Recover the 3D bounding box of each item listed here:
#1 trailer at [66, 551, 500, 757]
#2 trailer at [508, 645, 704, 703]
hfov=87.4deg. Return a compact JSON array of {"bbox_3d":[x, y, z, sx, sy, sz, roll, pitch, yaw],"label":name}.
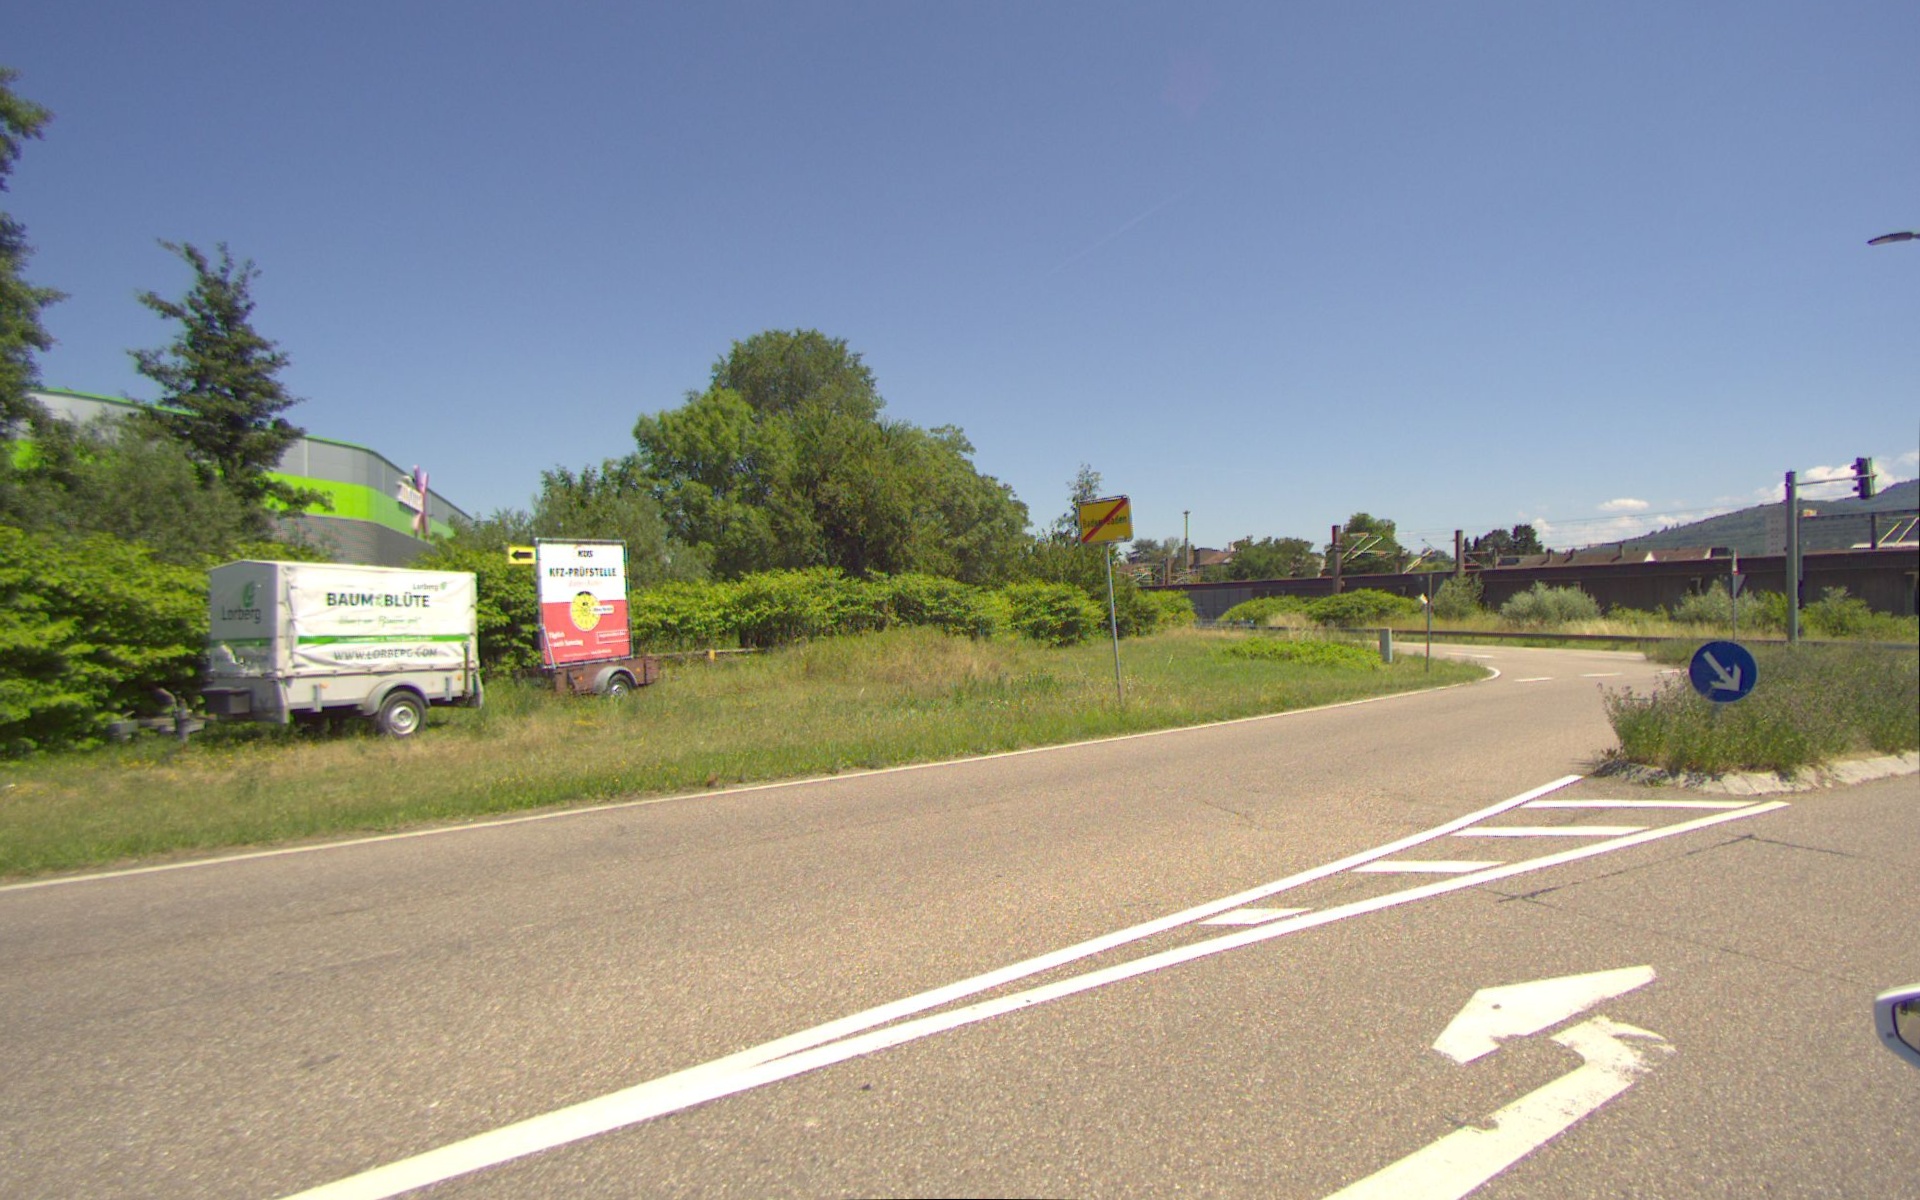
[{"bbox_3d":[-7.886,0.538,12.130,1.822,2.040,3.955,1,0,27],"label":"trailer"},{"bbox_3d":[-5.894,1.206,16.975,1.537,0.748,2.849,1,0,27],"label":"trailer"}]
